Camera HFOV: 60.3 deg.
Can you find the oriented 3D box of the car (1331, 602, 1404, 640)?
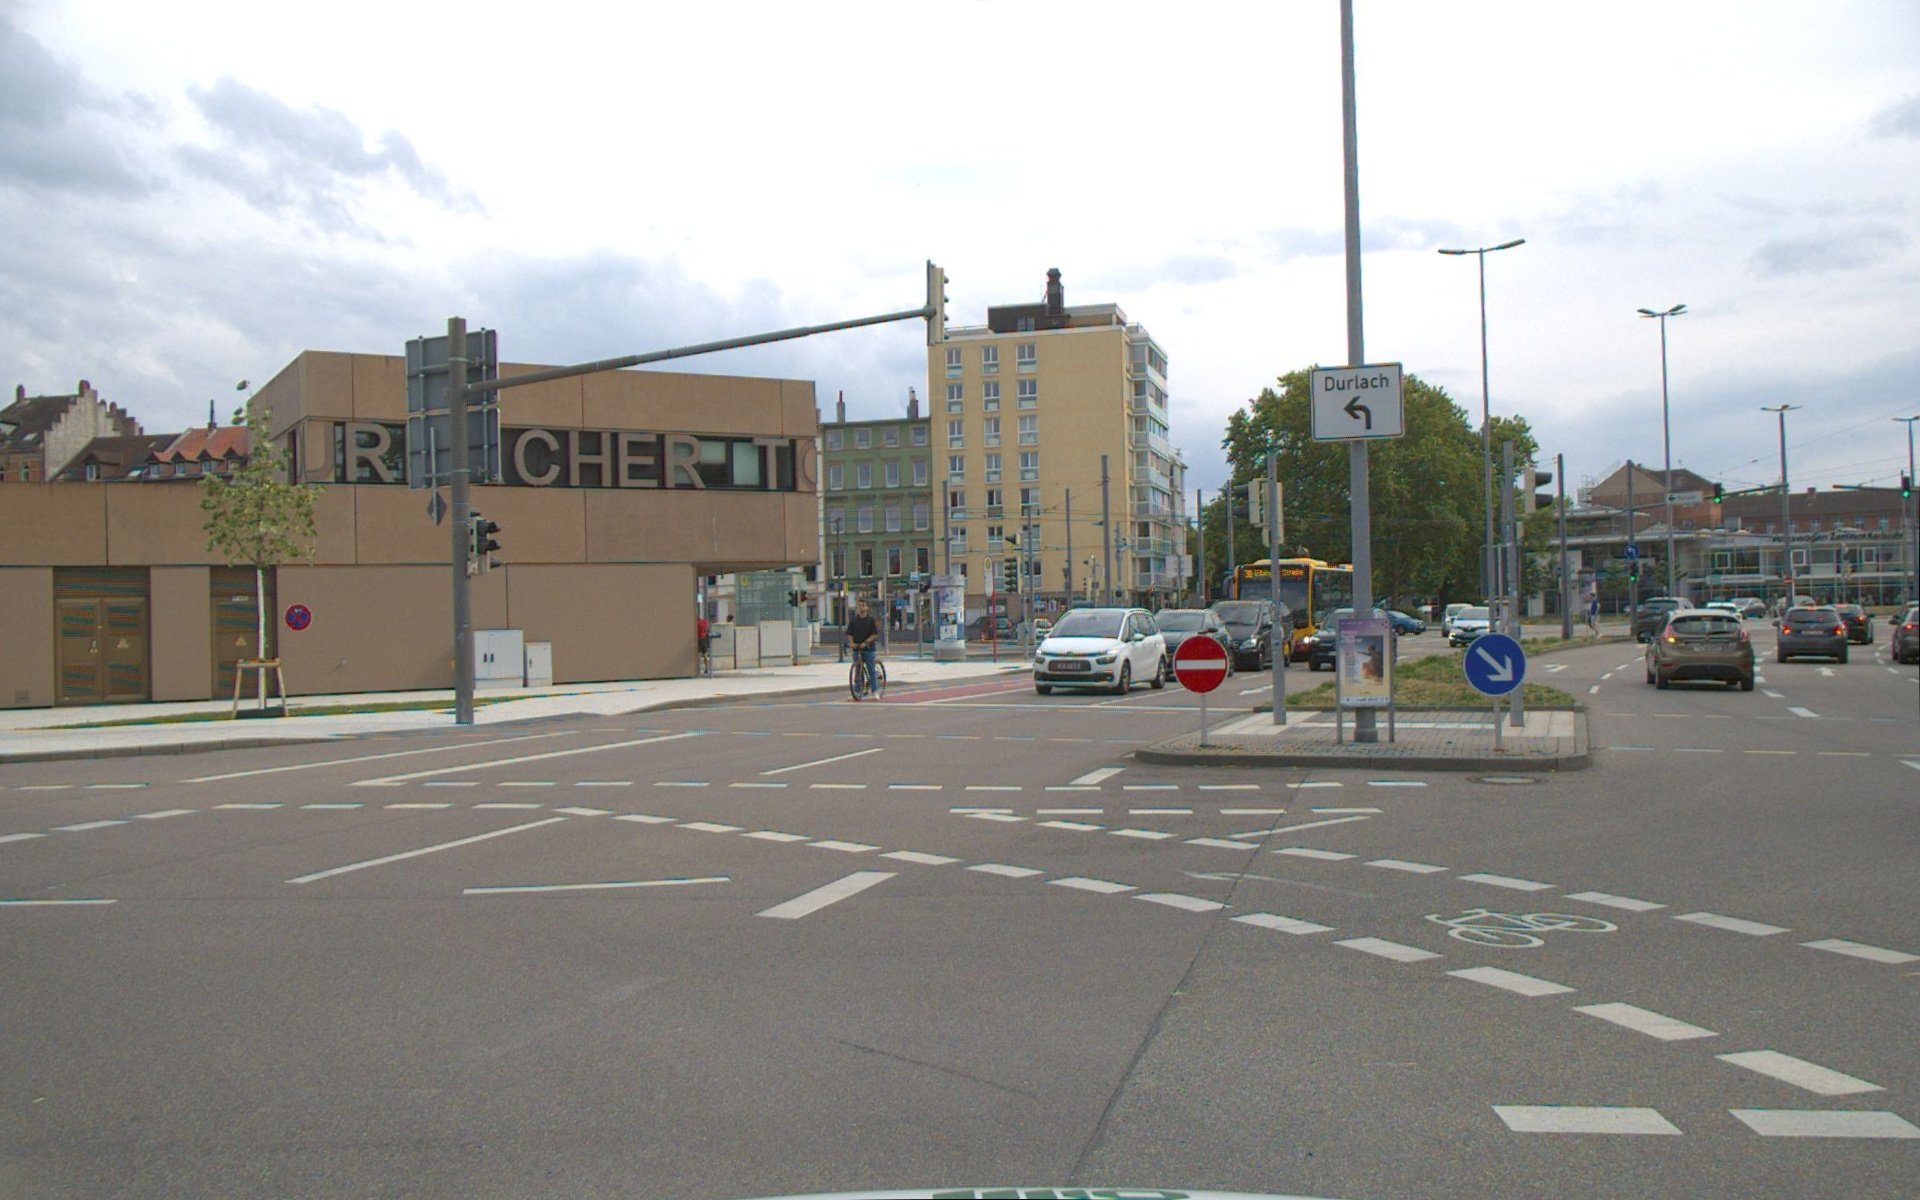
[{"bbox_3d":[22.460,1.159,91.248,1.966,2.049,3.973,1,-1,-22],"label":"car"}]

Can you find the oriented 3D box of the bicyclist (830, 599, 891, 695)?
[{"bbox_3d":[-1.786,0.837,29.851,0.848,1.698,0.881,0,-1,16],"label":"bicyclist"}]

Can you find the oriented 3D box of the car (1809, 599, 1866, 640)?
[{"bbox_3d":[31.921,0.706,60.218,1.677,1.445,3.996,0,-1,26],"label":"car"}]

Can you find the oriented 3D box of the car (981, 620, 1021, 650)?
[{"bbox_3d":[2.922,2.448,117.176,1.951,2.049,4.002,0,-1,15],"label":"car"}]

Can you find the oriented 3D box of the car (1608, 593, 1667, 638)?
[{"bbox_3d":[25.817,0.596,63.005,1.799,1.643,3.542,0,-1,27],"label":"car"}]

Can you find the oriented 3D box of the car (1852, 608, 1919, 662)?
[{"bbox_3d":[26.024,0.965,46.330,1.677,1.445,3.996,0,-1,26],"label":"car"}]

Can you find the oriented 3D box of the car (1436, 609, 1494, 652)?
[{"bbox_3d":[20.332,1.222,66.504,1.952,1.680,4.512,0,-1,20],"label":"car"}]

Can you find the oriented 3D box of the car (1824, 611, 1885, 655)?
[{"bbox_3d":[30.207,1.108,55.928,1.677,1.445,3.344,0,-1,26],"label":"car"}]

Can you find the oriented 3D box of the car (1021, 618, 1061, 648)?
[{"bbox_3d":[5.735,2.299,116.721,1.951,2.049,4.002,0,-1,15],"label":"car"}]

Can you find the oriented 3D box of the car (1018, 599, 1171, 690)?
[{"bbox_3d":[2.759,0.851,32.969,1.952,1.680,4.290,0,-1,20],"label":"car"}]

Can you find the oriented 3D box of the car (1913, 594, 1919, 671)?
[{"bbox_3d":[21.114,0.679,34.562,1.825,1.559,3.989,0,-1,34],"label":"car"}]

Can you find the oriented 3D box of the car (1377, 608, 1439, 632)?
[{"bbox_3d":[25.495,1.156,94.229,3.202,1.247,1.404,-2,-1,7],"label":"car"}]

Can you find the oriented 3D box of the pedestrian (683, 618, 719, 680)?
[{"bbox_3d":[-7.602,1.438,48.523,0.799,1.763,0.774,-2,-2,-25],"label":"pedestrian"}]

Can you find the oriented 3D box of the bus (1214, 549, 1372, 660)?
[{"bbox_3d":[11.429,0.218,55.490,3.083,3.312,12.412,0,-1,22],"label":"bus"}]

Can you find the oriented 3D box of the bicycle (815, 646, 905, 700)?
[{"bbox_3d":[-1.770,1.289,29.873,0.844,0.892,2.520,0,-1,16],"label":"bicycle"}]

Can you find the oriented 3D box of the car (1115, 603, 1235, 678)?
[{"bbox_3d":[5.212,0.948,39.592,1.952,1.680,4.290,0,-1,20],"label":"car"}]

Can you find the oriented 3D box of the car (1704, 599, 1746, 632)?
[{"bbox_3d":[35.008,0.723,75.622,1.677,1.445,3.996,0,-1,26],"label":"car"}]

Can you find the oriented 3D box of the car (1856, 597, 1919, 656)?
[{"bbox_3d":[24.376,0.680,42.636,2.090,1.445,3.697,0,-1,26],"label":"car"}]

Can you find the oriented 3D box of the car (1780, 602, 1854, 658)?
[{"bbox_3d":[22.980,0.795,44.413,1.677,1.445,3.995,0,-1,27],"label":"car"}]

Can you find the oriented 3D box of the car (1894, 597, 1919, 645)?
[{"bbox_3d":[29.994,0.642,51.156,1.670,1.445,3.697,0,-1,26],"label":"car"}]

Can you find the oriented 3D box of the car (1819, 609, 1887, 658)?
[{"bbox_3d":[27.518,1.033,51.066,1.677,1.445,3.996,0,-1,26],"label":"car"}]

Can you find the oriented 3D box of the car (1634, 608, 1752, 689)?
[{"bbox_3d":[13.737,0.878,31.153,1.659,1.429,3.701,0,-1,18],"label":"car"}]

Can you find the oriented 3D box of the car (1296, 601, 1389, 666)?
[{"bbox_3d":[10.595,0.899,45.599,1.952,1.680,4.512,0,-1,20],"label":"car"}]

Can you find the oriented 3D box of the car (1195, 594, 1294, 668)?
[{"bbox_3d":[7.886,0.843,45.576,1.952,1.932,4.290,0,-1,20],"label":"car"}]
